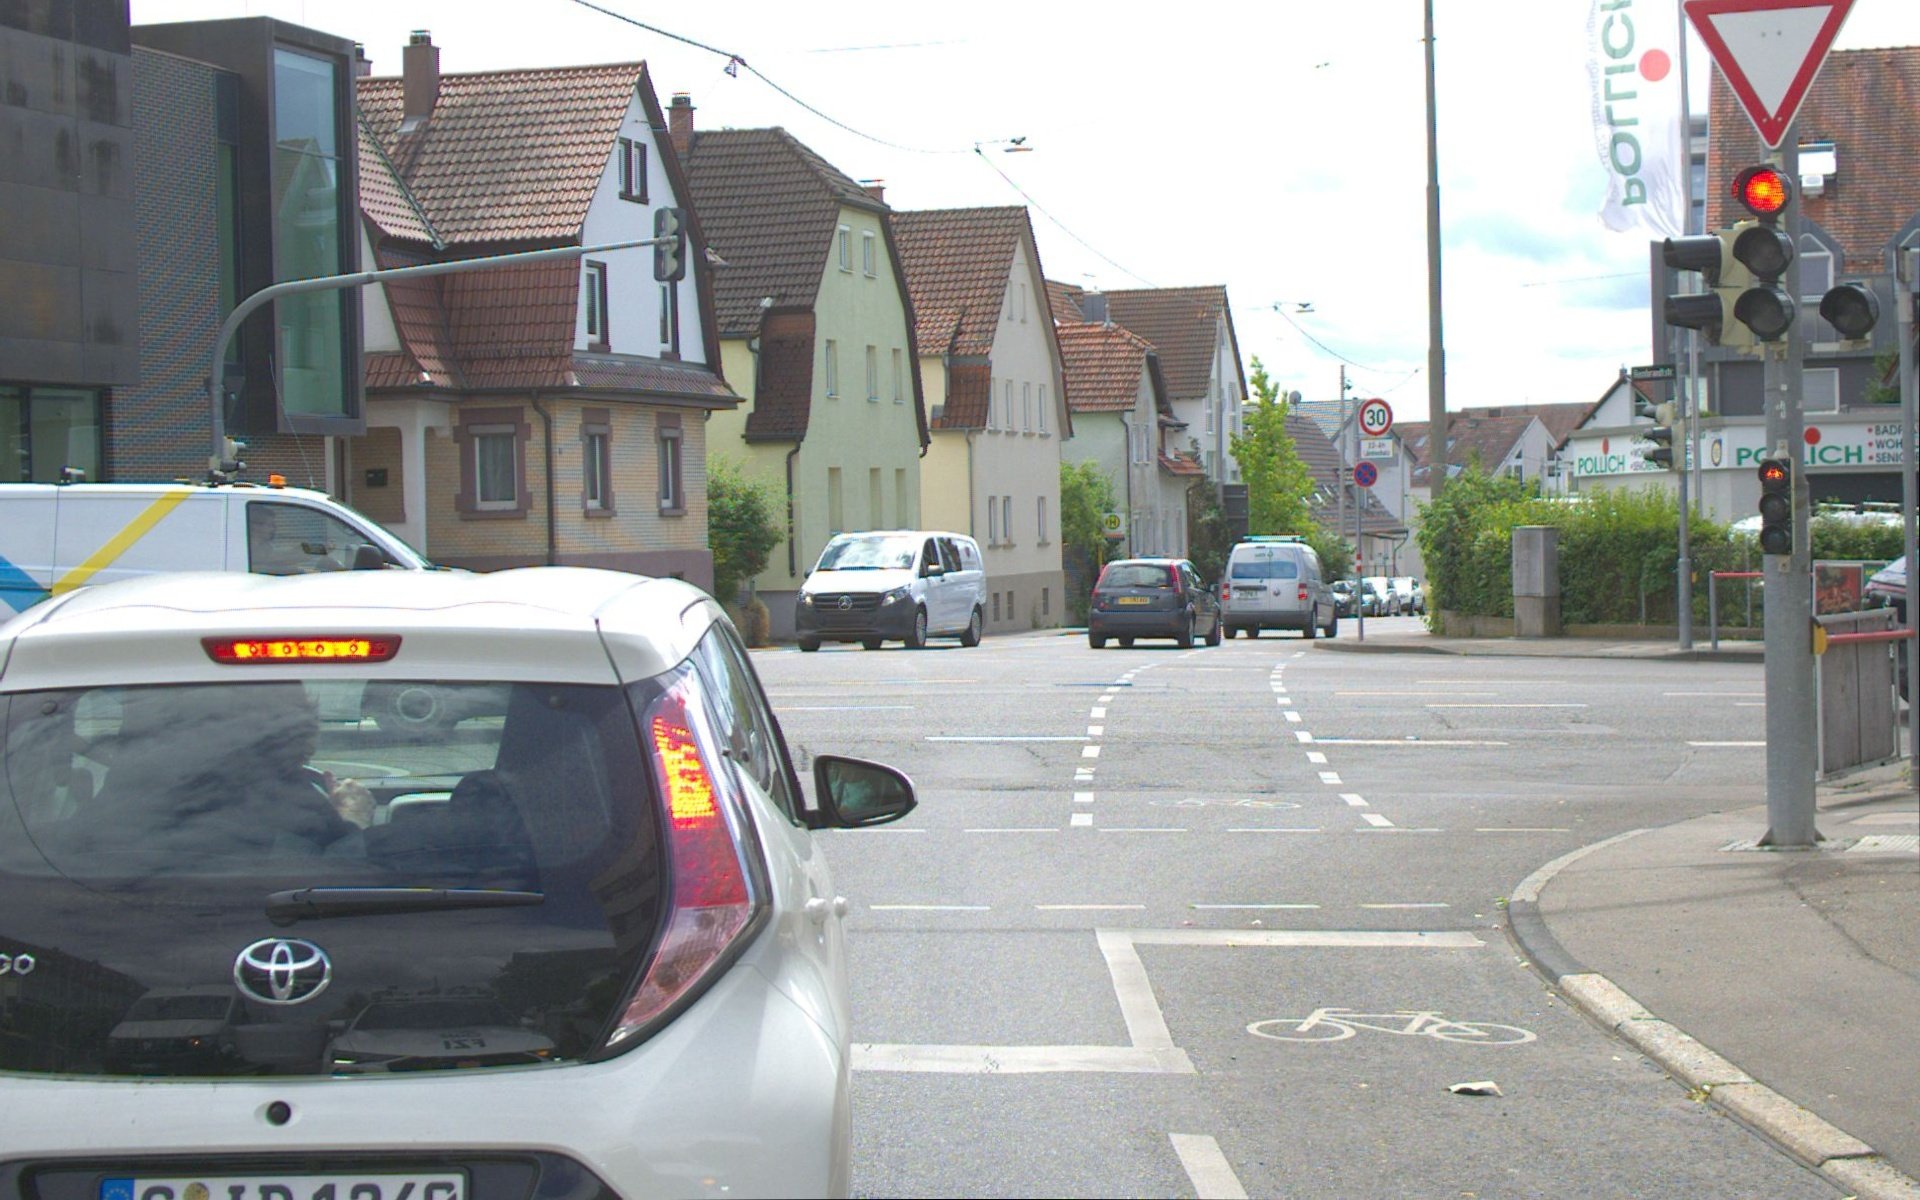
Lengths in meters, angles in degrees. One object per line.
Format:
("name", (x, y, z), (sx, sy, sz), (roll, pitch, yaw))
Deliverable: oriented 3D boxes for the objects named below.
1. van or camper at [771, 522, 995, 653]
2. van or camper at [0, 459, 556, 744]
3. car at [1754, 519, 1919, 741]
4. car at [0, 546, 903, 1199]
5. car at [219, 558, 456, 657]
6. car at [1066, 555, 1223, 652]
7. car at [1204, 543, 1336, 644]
("van or camper", (-1.122, -0.225, 53.669), (2.117, 1.919, 5.282), (1, 1, 15))
("van or camper", (-5.769, 0.001, 26.642), (5.116, 2.070, 2.001), (1, 1, -9))
("car", (9.321, 0.187, 29.399), (4.498, 1.737, 2.001), (-1, 3, -9))
("car", (-1.002, 0.634, 6.293), (1.697, 1.451, 3.299), (1, 1, -2))
("car", (-10.647, 0.112, 58.878), (3.616, 1.600, 1.691), (1, 1, 11))
("car", (3.033, 0.024, 55.773), (1.994, 1.481, 3.998), (1, 1, 11))
("car", (6.007, -0.149, 66.205), (1.995, 1.842, 4.071), (1, 1, 13))
